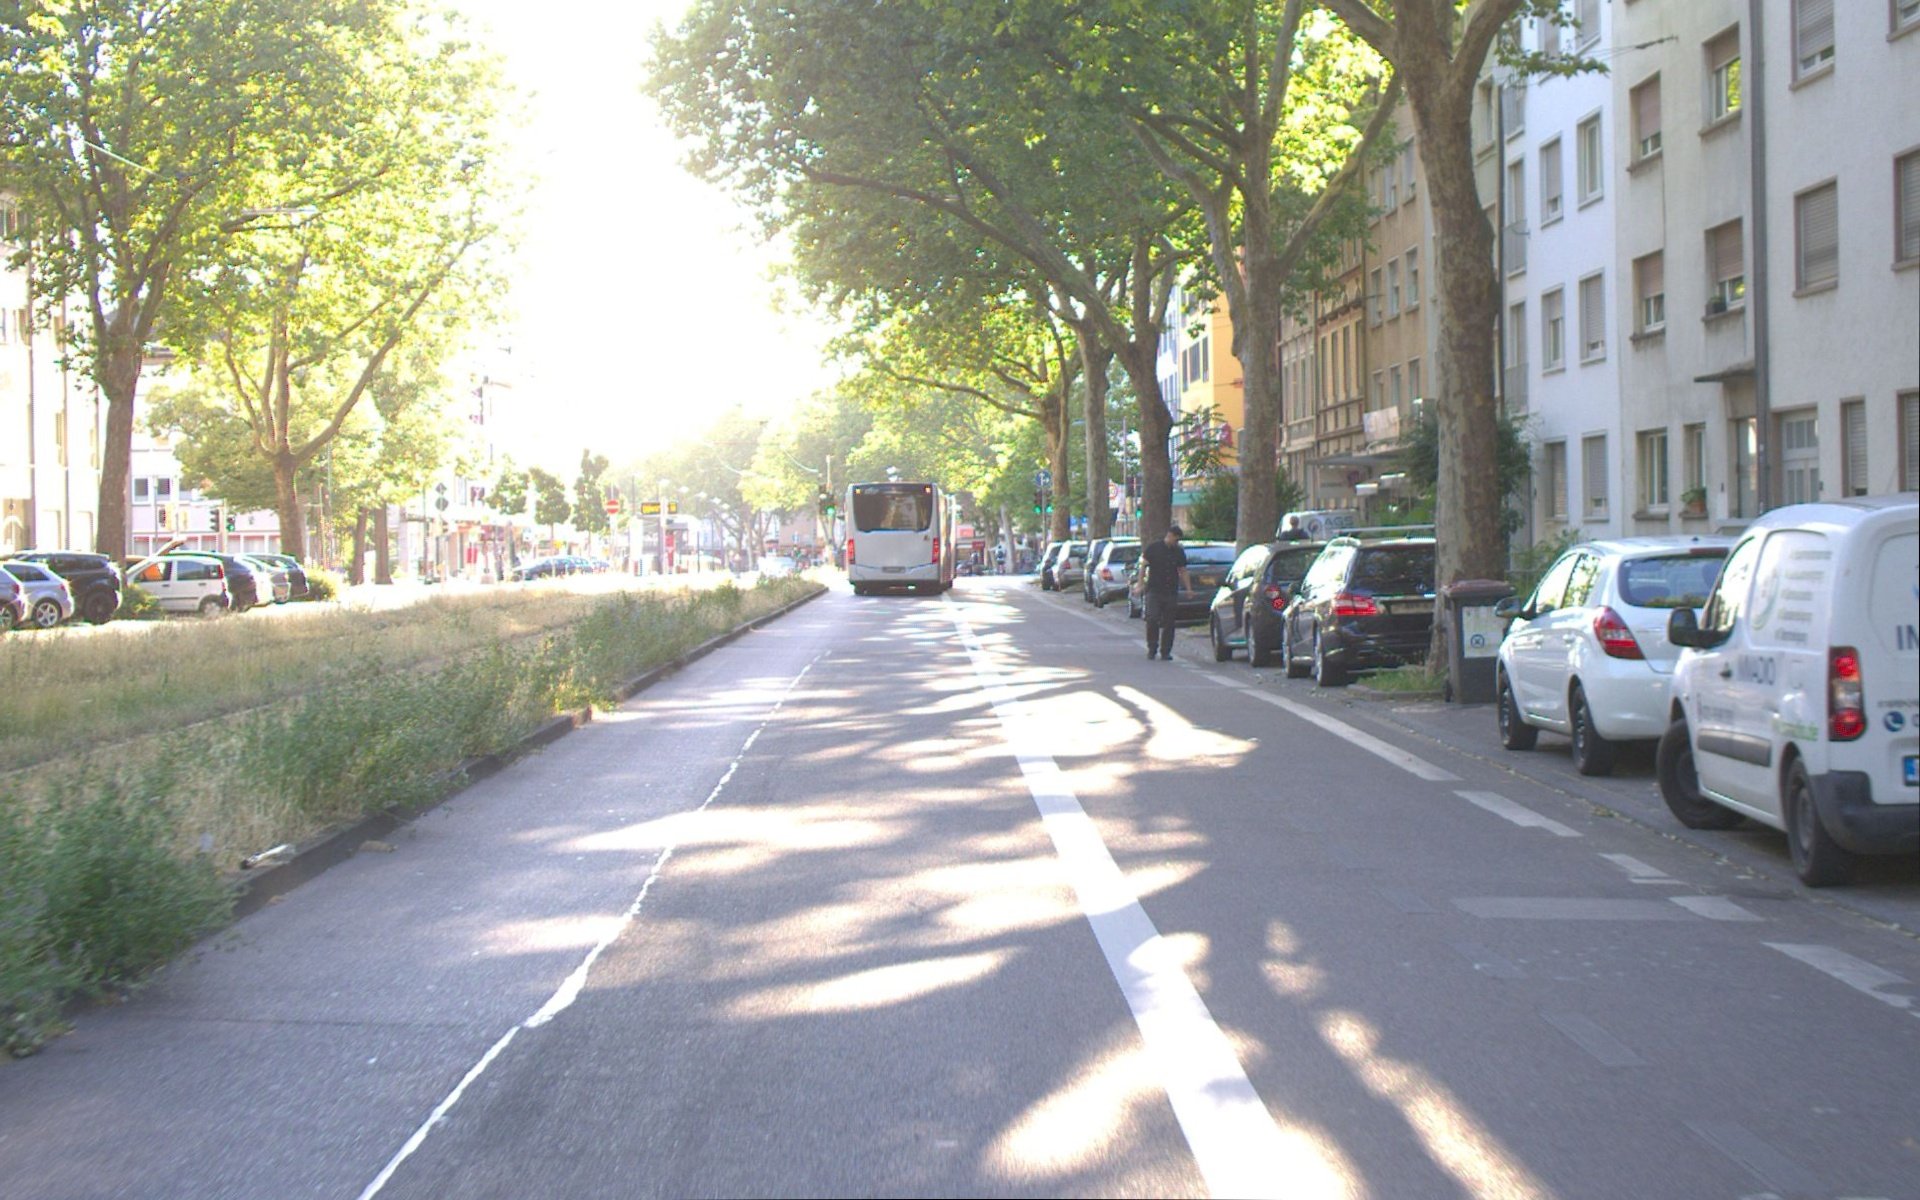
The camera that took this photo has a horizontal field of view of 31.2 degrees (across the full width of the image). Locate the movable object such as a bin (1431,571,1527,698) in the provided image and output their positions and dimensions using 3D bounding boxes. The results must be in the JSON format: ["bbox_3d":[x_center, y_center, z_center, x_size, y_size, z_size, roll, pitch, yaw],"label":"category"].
[{"bbox_3d":[4.539,0.294,30.114,0.673,1.042,0.880,-2,3,-1],"label":"movable object such as a bin"}]

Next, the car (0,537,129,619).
[{"bbox_3d":[-20.546,-0.473,74.949,4.300,1.732,1.857,-2,1,-41],"label":"car"}]

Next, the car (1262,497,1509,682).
[{"bbox_3d":[4.374,-0.127,36.048,1.744,1.764,4.989,-1,1,-2],"label":"car"}]

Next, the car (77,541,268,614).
[{"bbox_3d":[-19.843,-0.582,86.735,4.300,1.732,1.857,-2,1,-41],"label":"car"}]

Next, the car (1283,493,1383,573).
[{"bbox_3d":[9.095,-1.619,84.124,1.883,1.853,4.326,-1,1,-1],"label":"car"}]

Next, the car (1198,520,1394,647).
[{"bbox_3d":[4.134,-0.214,42.901,1.685,1.481,4.001,-1,1,-5],"label":"car"}]

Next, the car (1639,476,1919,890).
[{"bbox_3d":[4.597,0.320,16.902,1.744,1.764,4.394,-1,1,2],"label":"car"}]

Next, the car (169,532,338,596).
[{"bbox_3d":[-20.067,-1.028,97.716,4.300,1.732,1.857,-2,1,-41],"label":"car"}]

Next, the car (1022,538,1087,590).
[{"bbox_3d":[2.894,-1.124,105.738,1.781,1.510,4.000,-2,1,-1],"label":"car"}]

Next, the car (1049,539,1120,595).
[{"bbox_3d":[3.569,-0.974,99.132,1.781,1.510,4.000,-2,1,-1],"label":"car"}]

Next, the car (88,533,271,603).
[{"bbox_3d":[-20.540,-0.846,90.577,4.300,1.732,1.857,-2,1,-41],"label":"car"}]

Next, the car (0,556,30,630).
[{"bbox_3d":[-20.873,-0.089,68.170,4.300,1.453,1.857,-2,1,-41],"label":"car"}]

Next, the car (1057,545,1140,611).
[{"bbox_3d":[3.391,-0.552,84.749,1.781,1.510,4.000,-2,1,-1],"label":"car"}]

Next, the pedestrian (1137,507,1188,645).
[{"bbox_3d":[2.628,-0.315,44.723,0.576,1.773,0.514,-2,1,-1],"label":"pedestrian"}]

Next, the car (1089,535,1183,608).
[{"bbox_3d":[3.883,-0.665,76.497,1.781,1.510,4.000,-2,1,-1],"label":"car"}]

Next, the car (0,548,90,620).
[{"bbox_3d":[-20.542,-0.299,71.571,4.300,1.453,1.857,-2,1,-41],"label":"car"}]

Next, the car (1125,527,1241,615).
[{"bbox_3d":[4.106,-0.566,63.833,1.781,1.510,4.000,-2,1,-1],"label":"car"}]

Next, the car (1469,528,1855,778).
[{"bbox_3d":[4.627,0.285,23.193,1.645,1.481,4.001,-2,1,-2],"label":"car"}]

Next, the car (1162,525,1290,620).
[{"bbox_3d":[4.525,-0.495,58.937,1.781,1.510,4.000,-2,1,-1],"label":"car"}]

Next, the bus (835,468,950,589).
[{"bbox_3d":[-1.982,-1.975,97.074,2.833,3.224,8.183,-1,1,-4],"label":"bus"}]
